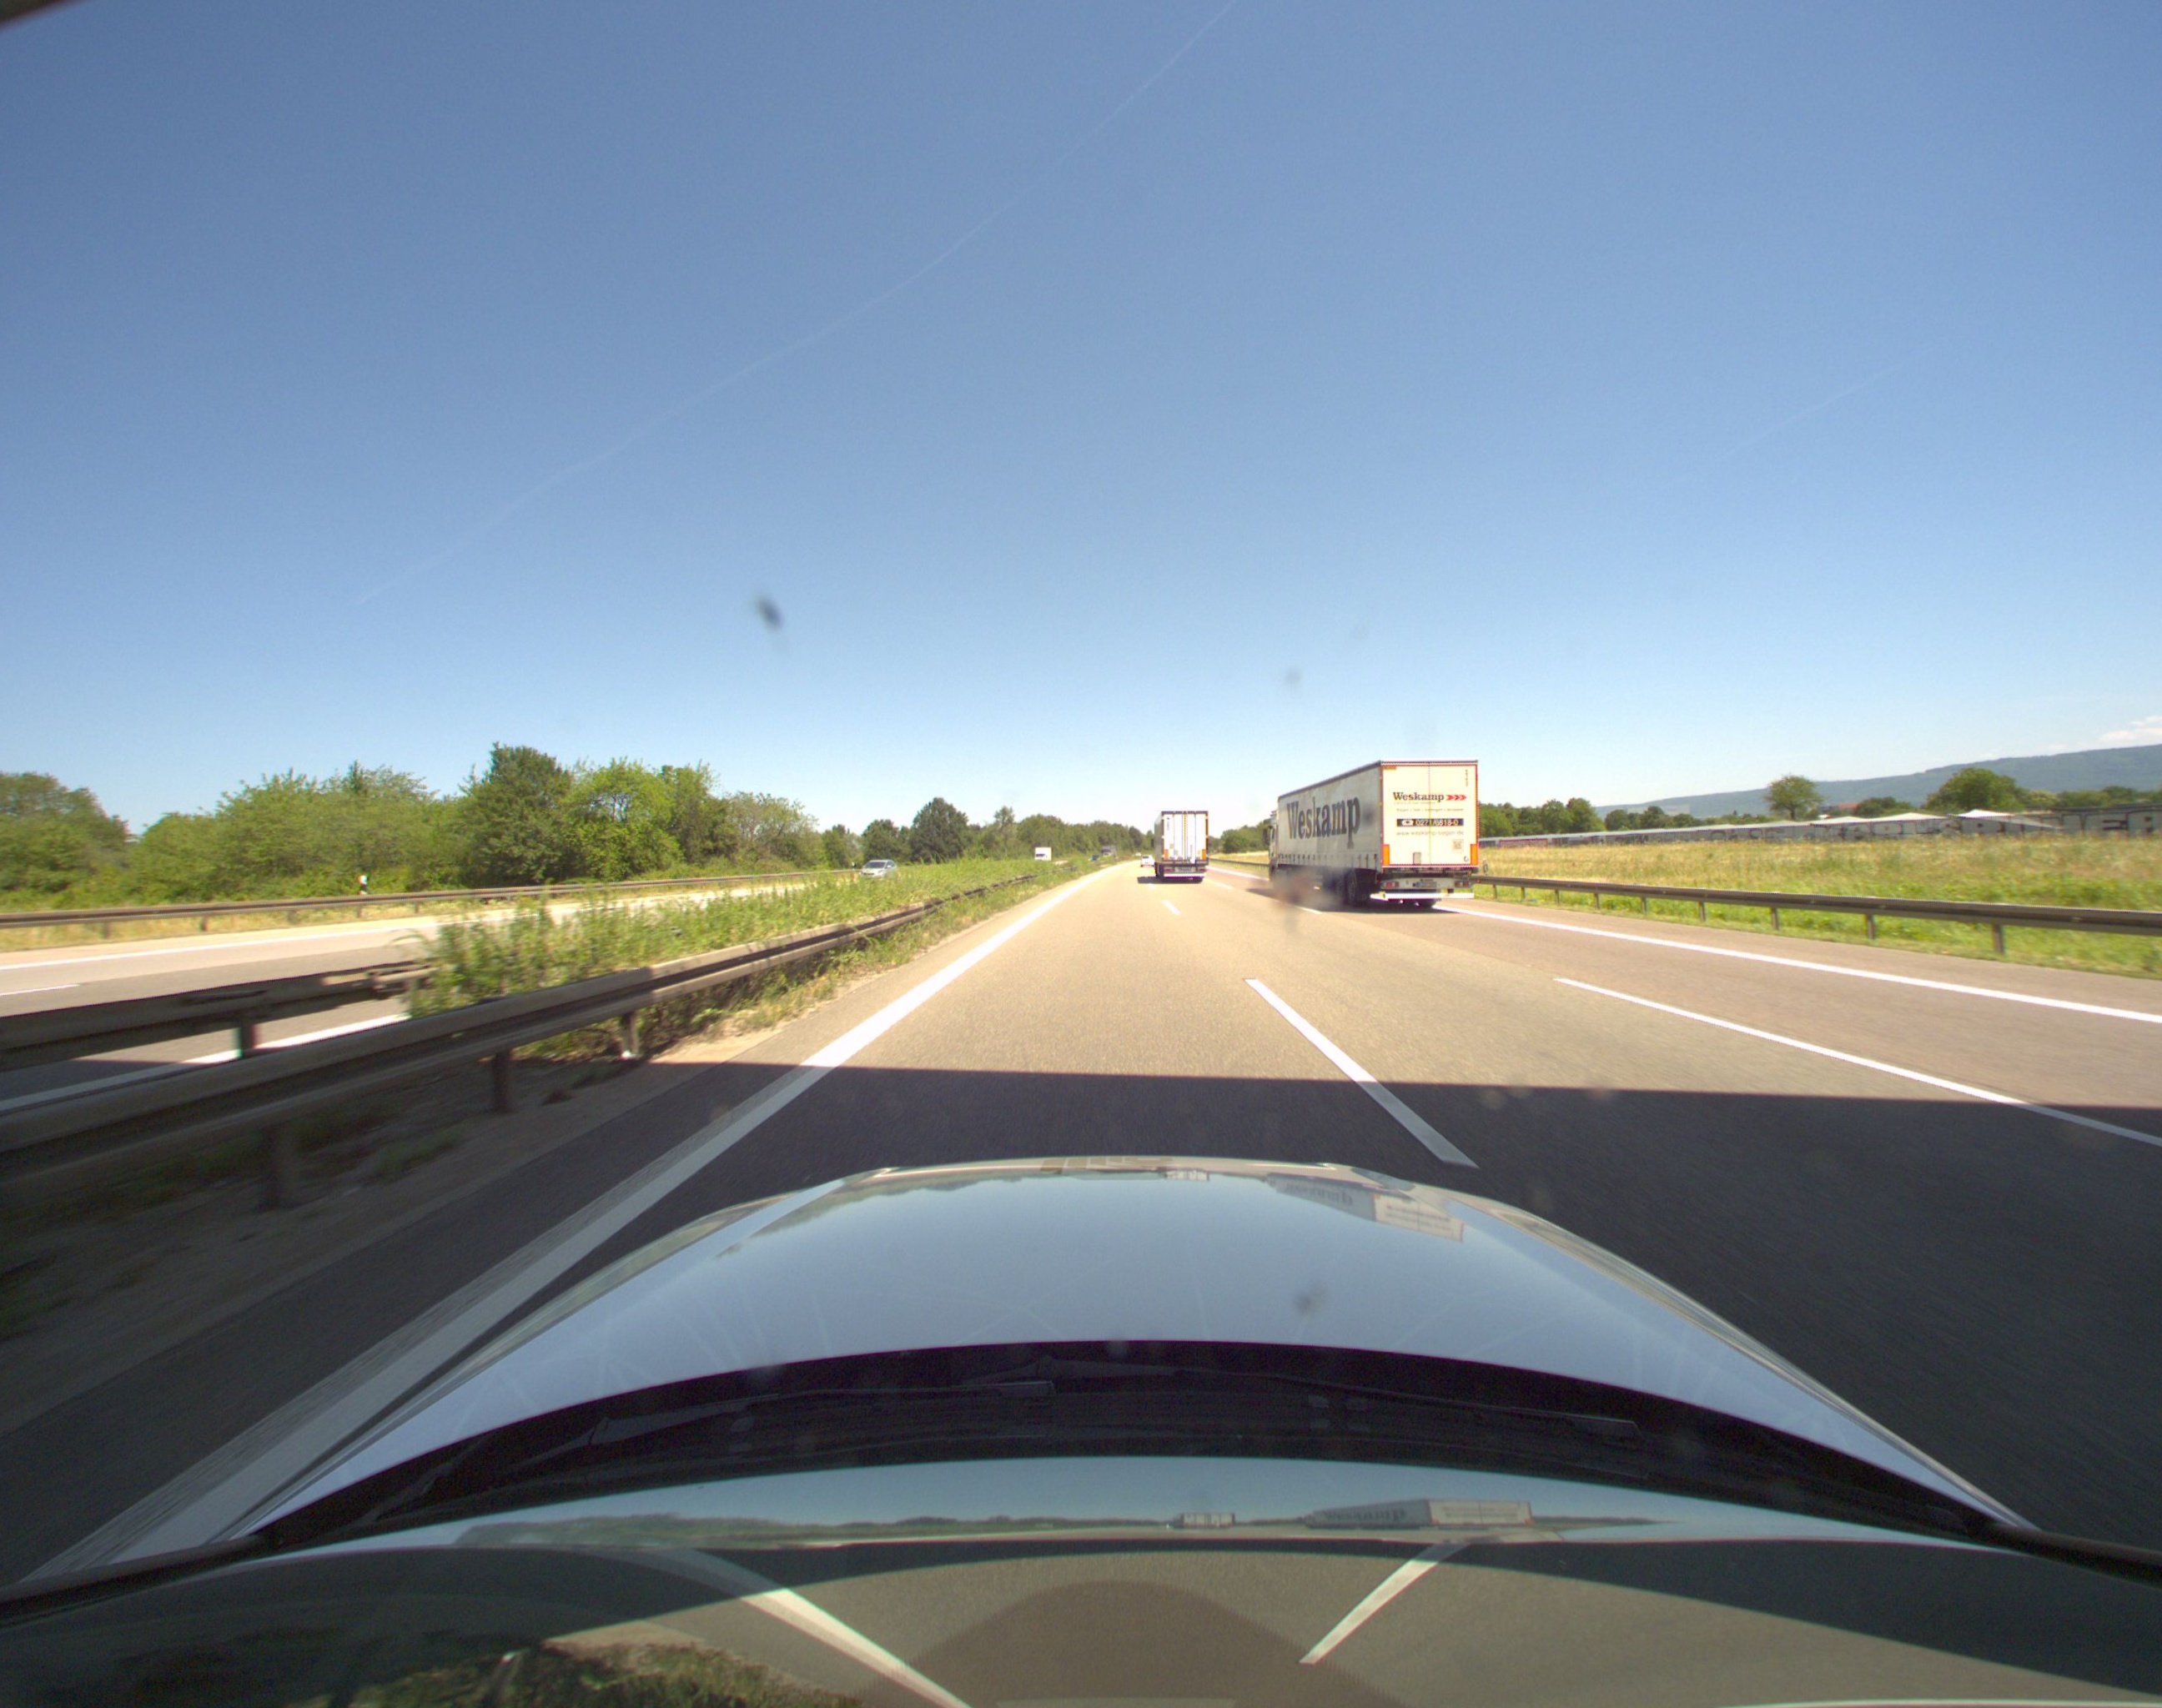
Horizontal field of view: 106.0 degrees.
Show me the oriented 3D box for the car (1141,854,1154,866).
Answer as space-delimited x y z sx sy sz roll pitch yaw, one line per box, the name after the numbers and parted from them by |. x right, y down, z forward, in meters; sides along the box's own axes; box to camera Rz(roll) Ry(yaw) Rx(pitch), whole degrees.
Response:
8.740 0.800 106.446 1.620 1.479 4.005 -1 0 5 | car

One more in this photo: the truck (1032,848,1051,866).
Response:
-6.949 0.449 145.311 2.440 3.098 6.999 -1 0 5 | truck

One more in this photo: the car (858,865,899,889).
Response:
-14.214 1.592 57.468 1.705 1.574 4.404 -2 0 0 | car

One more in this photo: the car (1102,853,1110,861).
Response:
7.014 0.788 227.088 2.049 2.071 5.414 -2 0 4 | car

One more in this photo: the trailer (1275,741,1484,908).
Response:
9.273 -0.675 27.696 2.585 4.252 13.647 -1 -1 2 | trailer

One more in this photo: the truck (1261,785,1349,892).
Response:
9.582 -0.614 35.319 2.590 4.256 5.092 -1 0 3 | truck

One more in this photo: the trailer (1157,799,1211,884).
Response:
6.406 -0.673 51.777 2.886 4.657 14.010 -1 0 6 | trailer
